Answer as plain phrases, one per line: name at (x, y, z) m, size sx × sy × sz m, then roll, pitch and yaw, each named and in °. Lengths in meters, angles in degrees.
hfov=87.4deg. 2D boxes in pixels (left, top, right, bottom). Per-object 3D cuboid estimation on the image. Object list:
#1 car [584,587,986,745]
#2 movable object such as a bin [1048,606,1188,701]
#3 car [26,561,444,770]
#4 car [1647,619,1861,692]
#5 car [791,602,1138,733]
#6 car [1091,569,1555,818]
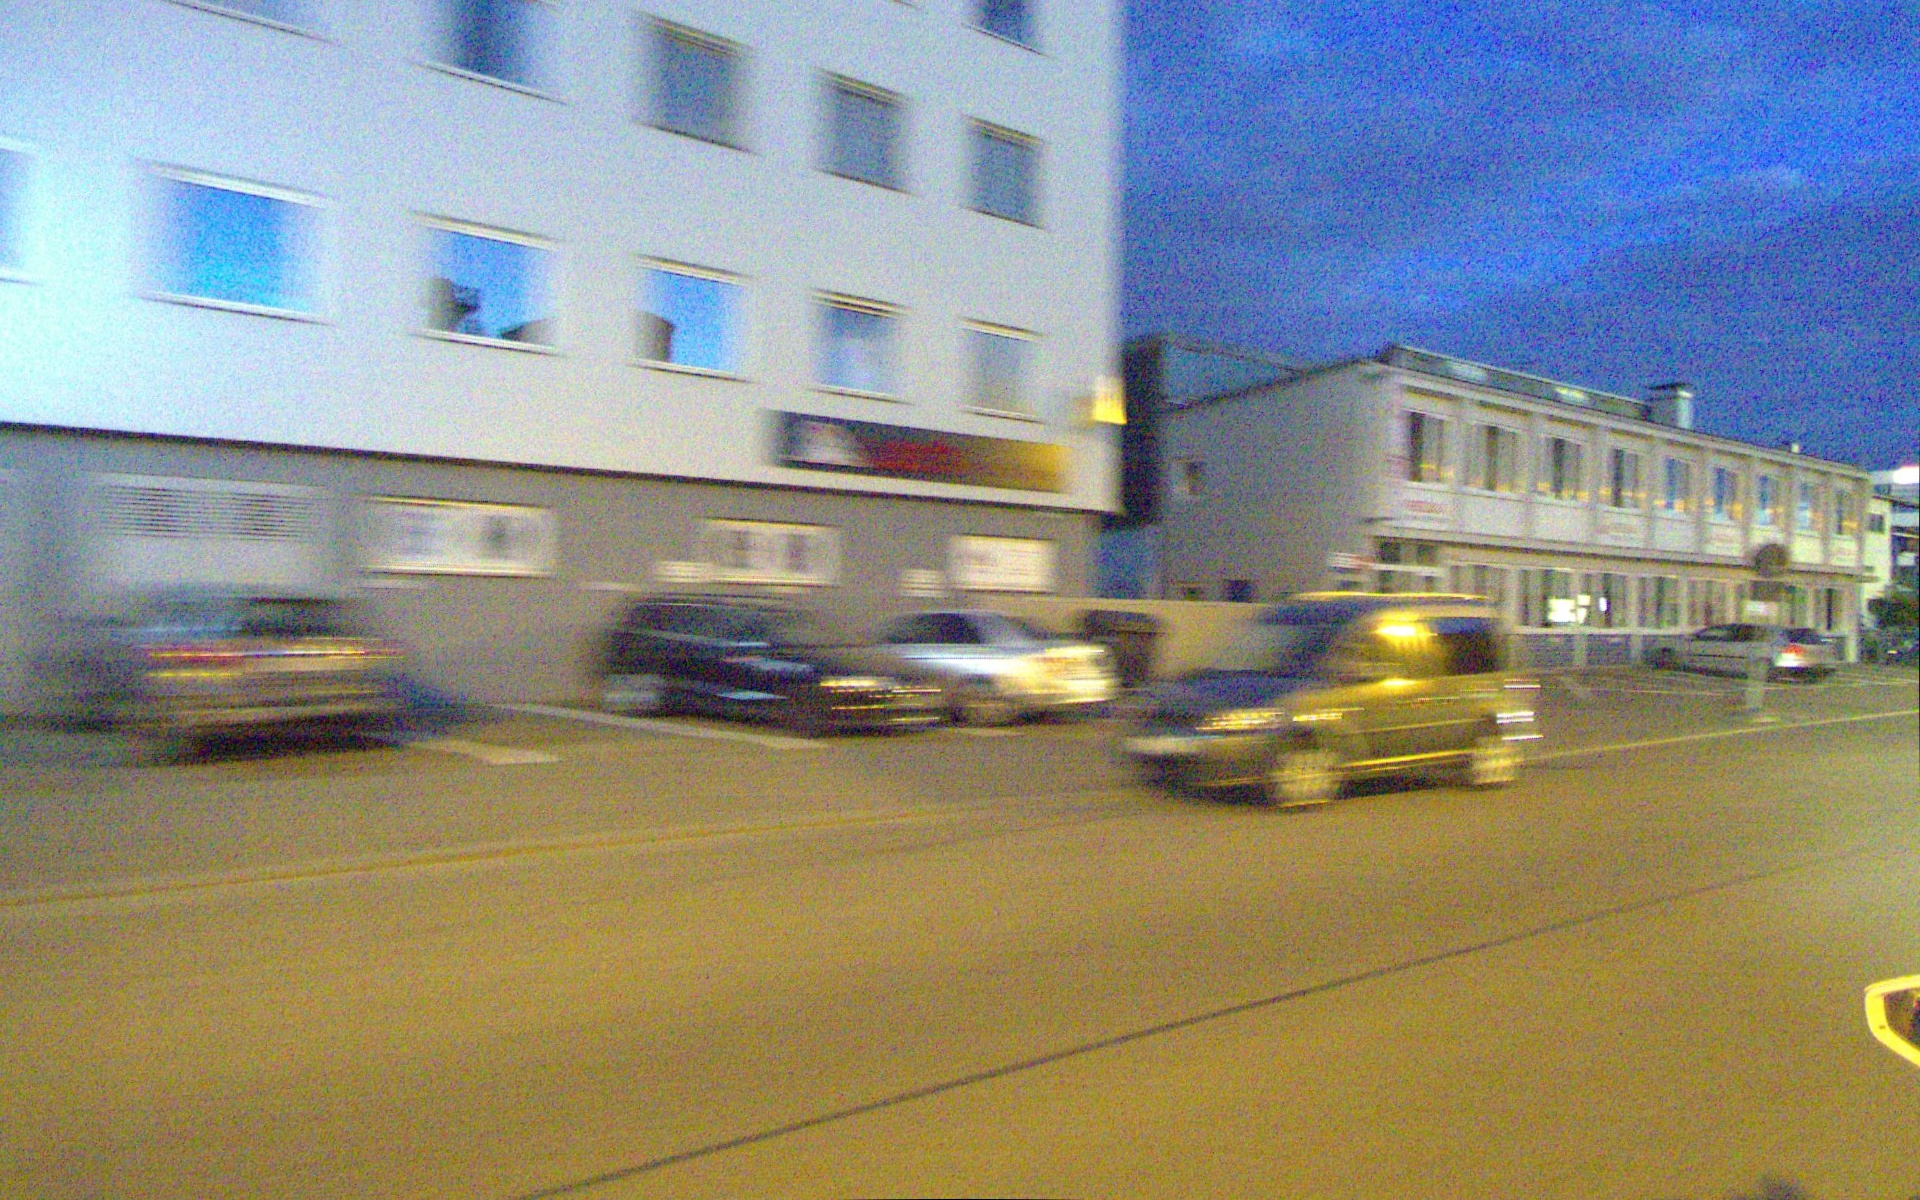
car at (-2.173, 0.676, 12.098) m, size 4.590 × 1.571 × 1.996 m, roll 1°, pitch -1°, yaw 31°
movable object such as a bin at (2.711, 0.901, 17.408) m, size 1.590 × 1.520 × 1.849 m, roll 2°, pitch -1°, yaw -30°
car at (-7.093, 0.511, 9.695) m, size 4.343 × 1.580 × 1.993 m, roll 0°, pitch -2°, yaw 36°
car at (20.761, 1.401, 26.512) m, size 1.863 × 1.451 × 4.131 m, roll 2°, pitch 3°, yaw -12°
car at (-0.004, 0.810, 13.440) m, size 4.337 × 1.459 × 1.790 m, roll 1°, pitch -1°, yaw 32°
car at (3.524, 0.785, 9.492) m, size 4.365 × 1.873 × 1.804 m, roll 2°, pitch -1°, yaw -32°
